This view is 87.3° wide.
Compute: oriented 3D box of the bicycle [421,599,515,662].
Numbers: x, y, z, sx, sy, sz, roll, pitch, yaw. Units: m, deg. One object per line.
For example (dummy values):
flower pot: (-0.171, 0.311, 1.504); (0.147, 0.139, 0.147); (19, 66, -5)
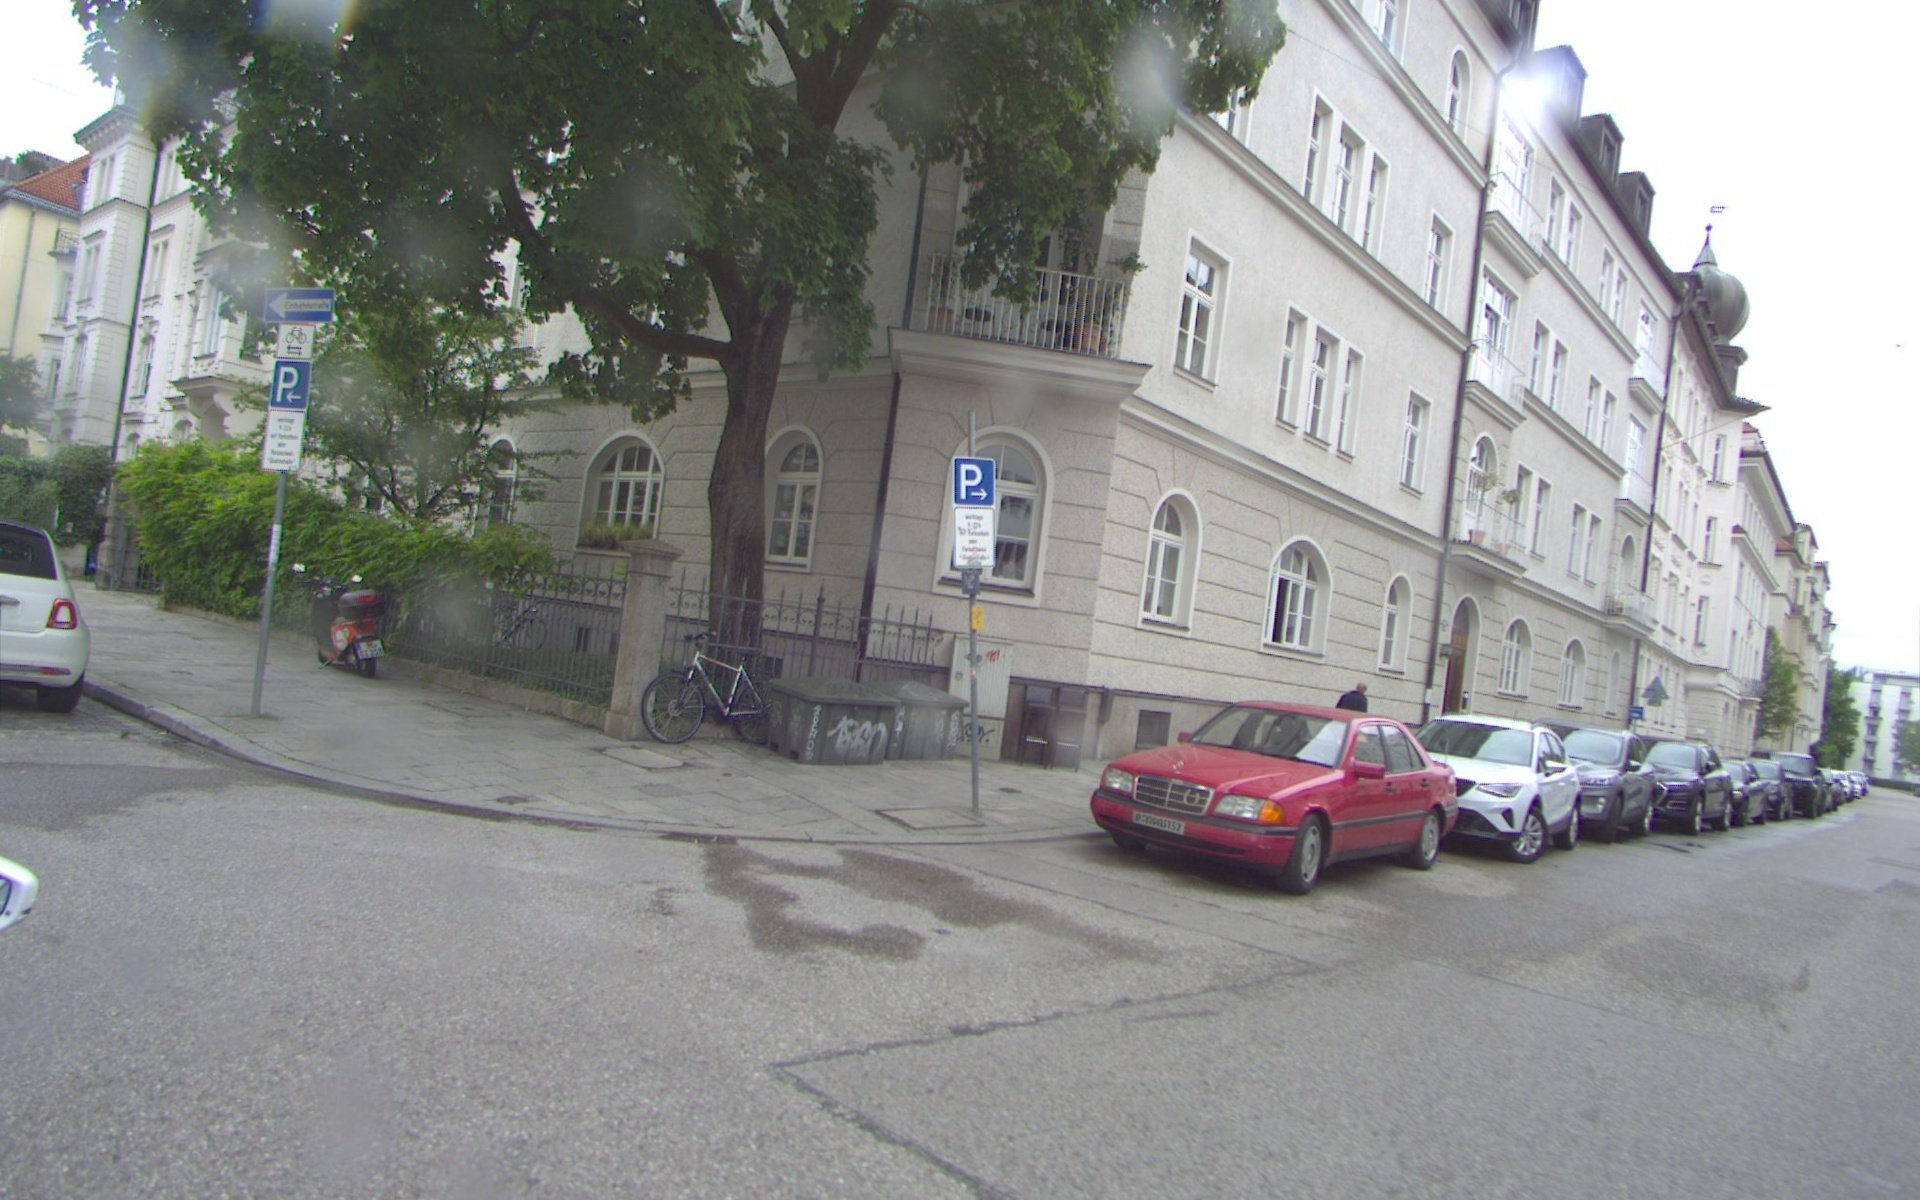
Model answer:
bicycle: (-8.341, 0.498, 17.002); (2.241, 0.821, 0.491); (5, -3, 40)

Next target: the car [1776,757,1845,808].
car: (33.200, 7.093, 39.227); (1.642, 1.612, 3.727); (6, -3, 45)

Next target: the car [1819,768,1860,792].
car: (61.184, 12.498, 70.014); (1.972, 1.292, 3.986); (5, -4, 41)

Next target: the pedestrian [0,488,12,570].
pedestrian: (-20.539, -1.484, 21.015); (0.647, 1.829, 0.631); (7, -2, 13)

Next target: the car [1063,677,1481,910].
car: (3.036, 1.628, 9.091); (1.737, 1.373, 4.461); (6, -2, 43)

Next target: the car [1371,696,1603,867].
car: (6.517, 2.134, 12.236); (1.544, 1.538, 3.884); (6, -3, 41)

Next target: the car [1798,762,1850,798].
car: (46.922, 9.736, 54.661); (1.972, 1.526, 3.985); (6, -4, 41)

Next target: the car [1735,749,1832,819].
car: (25.185, 5.596, 30.723); (1.809, 1.689, 4.038); (5, -4, 45)

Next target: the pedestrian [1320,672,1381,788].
pedestrian: (6.828, 2.259, 17.585); (0.730, 1.897, 0.494); (6, -2, 31)

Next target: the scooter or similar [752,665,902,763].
scooter or similar: (-1.404, 1.211, 10.677); (1.181, 0.858, 0.913); (10, -3, -45)

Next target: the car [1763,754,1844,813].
car: (29.781, 6.453, 35.489); (1.832, 1.676, 3.914); (5, -4, 44)

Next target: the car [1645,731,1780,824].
car: (17.780, 4.134, 23.686); (1.865, 1.682, 4.270); (6, -2, 45)

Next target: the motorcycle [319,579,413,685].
motorcycle: (-7.007, 0.361, 11.849); (1.383, 1.102, 0.362); (6, -2, 39)

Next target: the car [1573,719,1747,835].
car: (13.363, 3.309, 19.100); (1.866, 1.682, 4.270); (6, -2, 45)

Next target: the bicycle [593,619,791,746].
bicycle: (-2.739, 0.881, 10.442); (1.834, 1.137, 0.555); (9, -2, -45)

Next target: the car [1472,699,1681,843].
car: (9.826, 2.619, 15.875); (1.730, 1.732, 4.318); (6, -2, 45)

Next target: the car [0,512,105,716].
car: (-8.681, -0.062, 8.368); (3.738, 1.488, 1.503); (6, -2, 37)

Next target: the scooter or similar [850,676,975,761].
scooter or similar: (-0.538, 1.384, 11.709); (0.688, 0.835, 1.235); (5, -3, 45)

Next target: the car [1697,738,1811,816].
car: (21.899, 4.865, 27.685); (1.866, 1.682, 4.271); (5, -4, 45)
